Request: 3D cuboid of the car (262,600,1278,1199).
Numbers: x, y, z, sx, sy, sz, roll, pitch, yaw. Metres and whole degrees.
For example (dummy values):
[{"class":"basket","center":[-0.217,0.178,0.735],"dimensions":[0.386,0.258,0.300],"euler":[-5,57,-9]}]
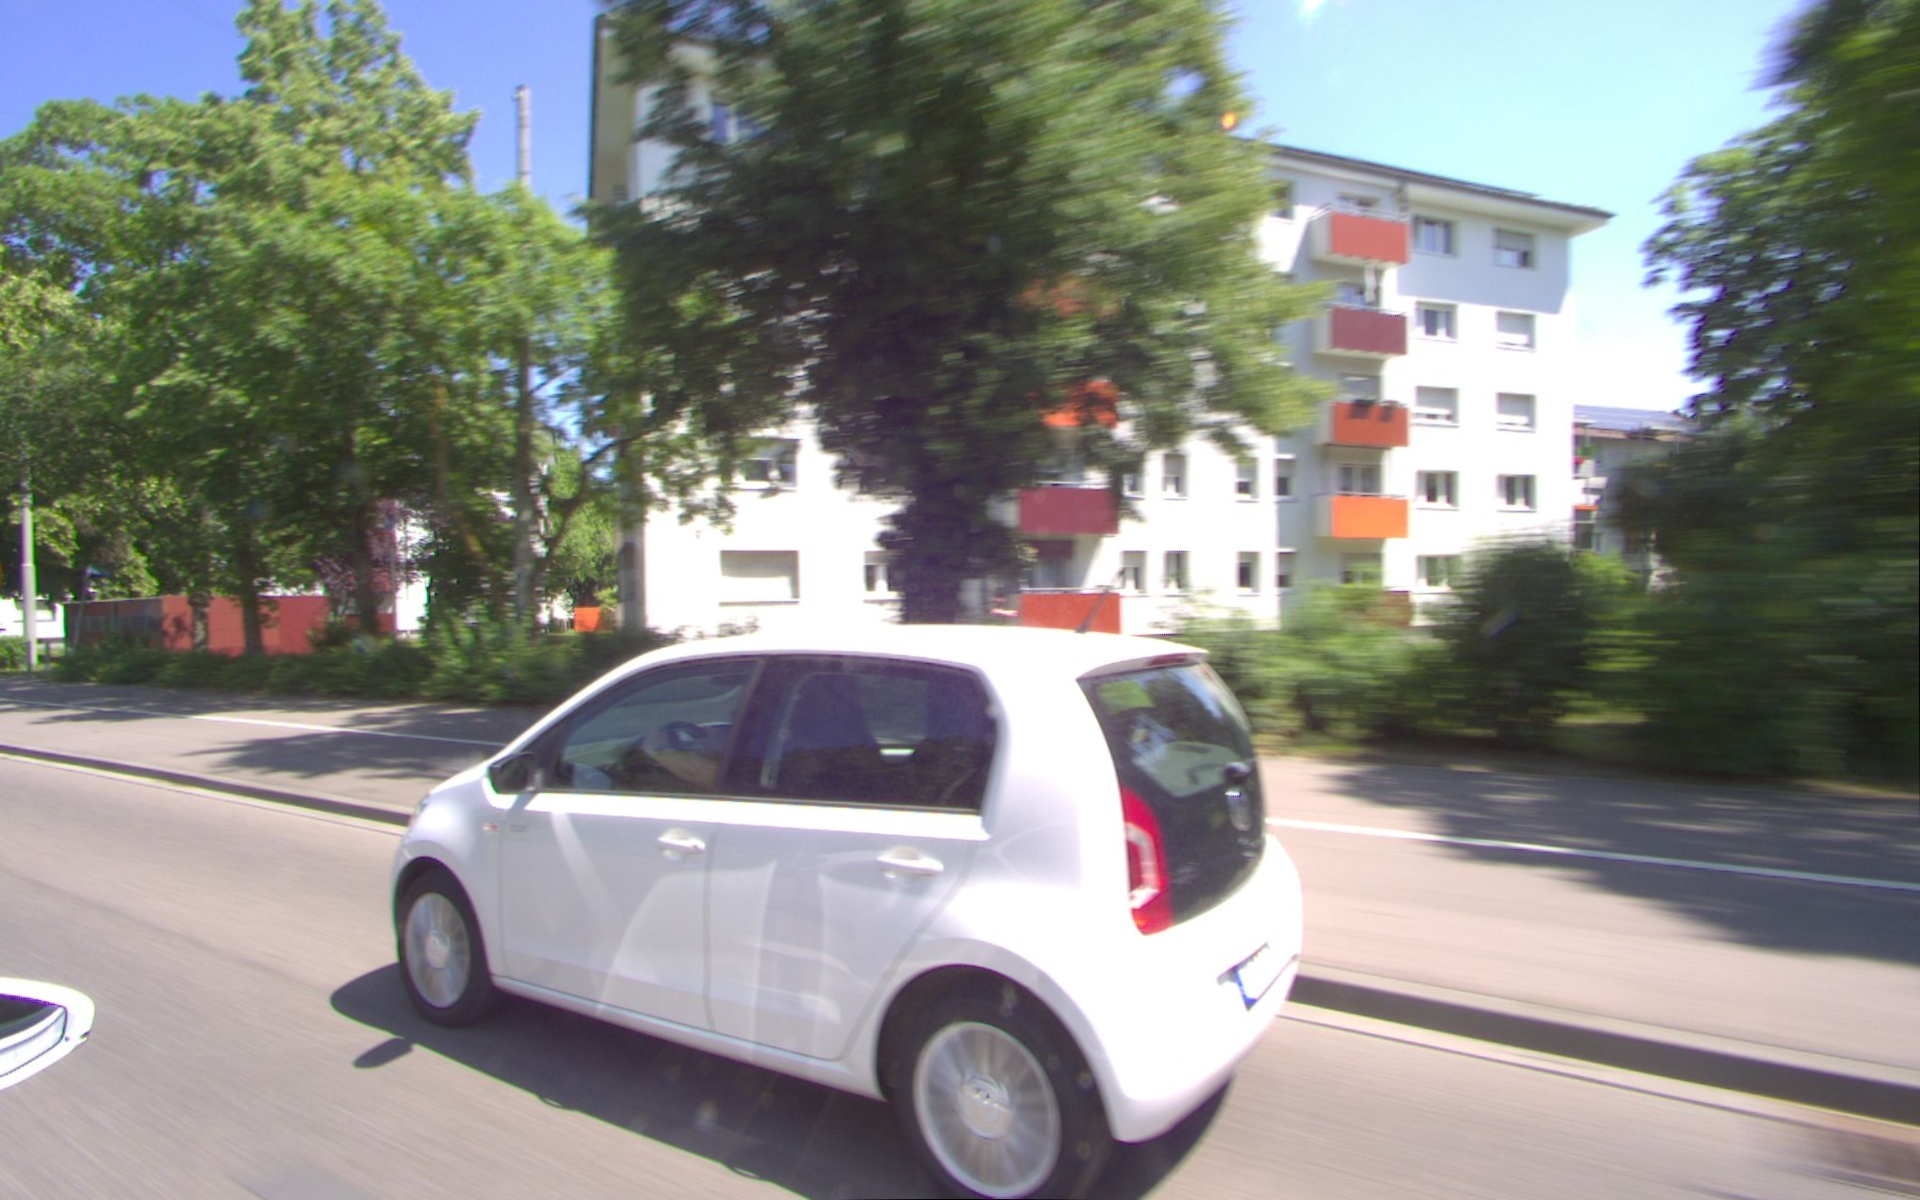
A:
[{"class":"car","center":[-0.887,0.779,3.918],"dimensions":[3.798,1.468,1.656],"euler":[-1,-1,31]}]
